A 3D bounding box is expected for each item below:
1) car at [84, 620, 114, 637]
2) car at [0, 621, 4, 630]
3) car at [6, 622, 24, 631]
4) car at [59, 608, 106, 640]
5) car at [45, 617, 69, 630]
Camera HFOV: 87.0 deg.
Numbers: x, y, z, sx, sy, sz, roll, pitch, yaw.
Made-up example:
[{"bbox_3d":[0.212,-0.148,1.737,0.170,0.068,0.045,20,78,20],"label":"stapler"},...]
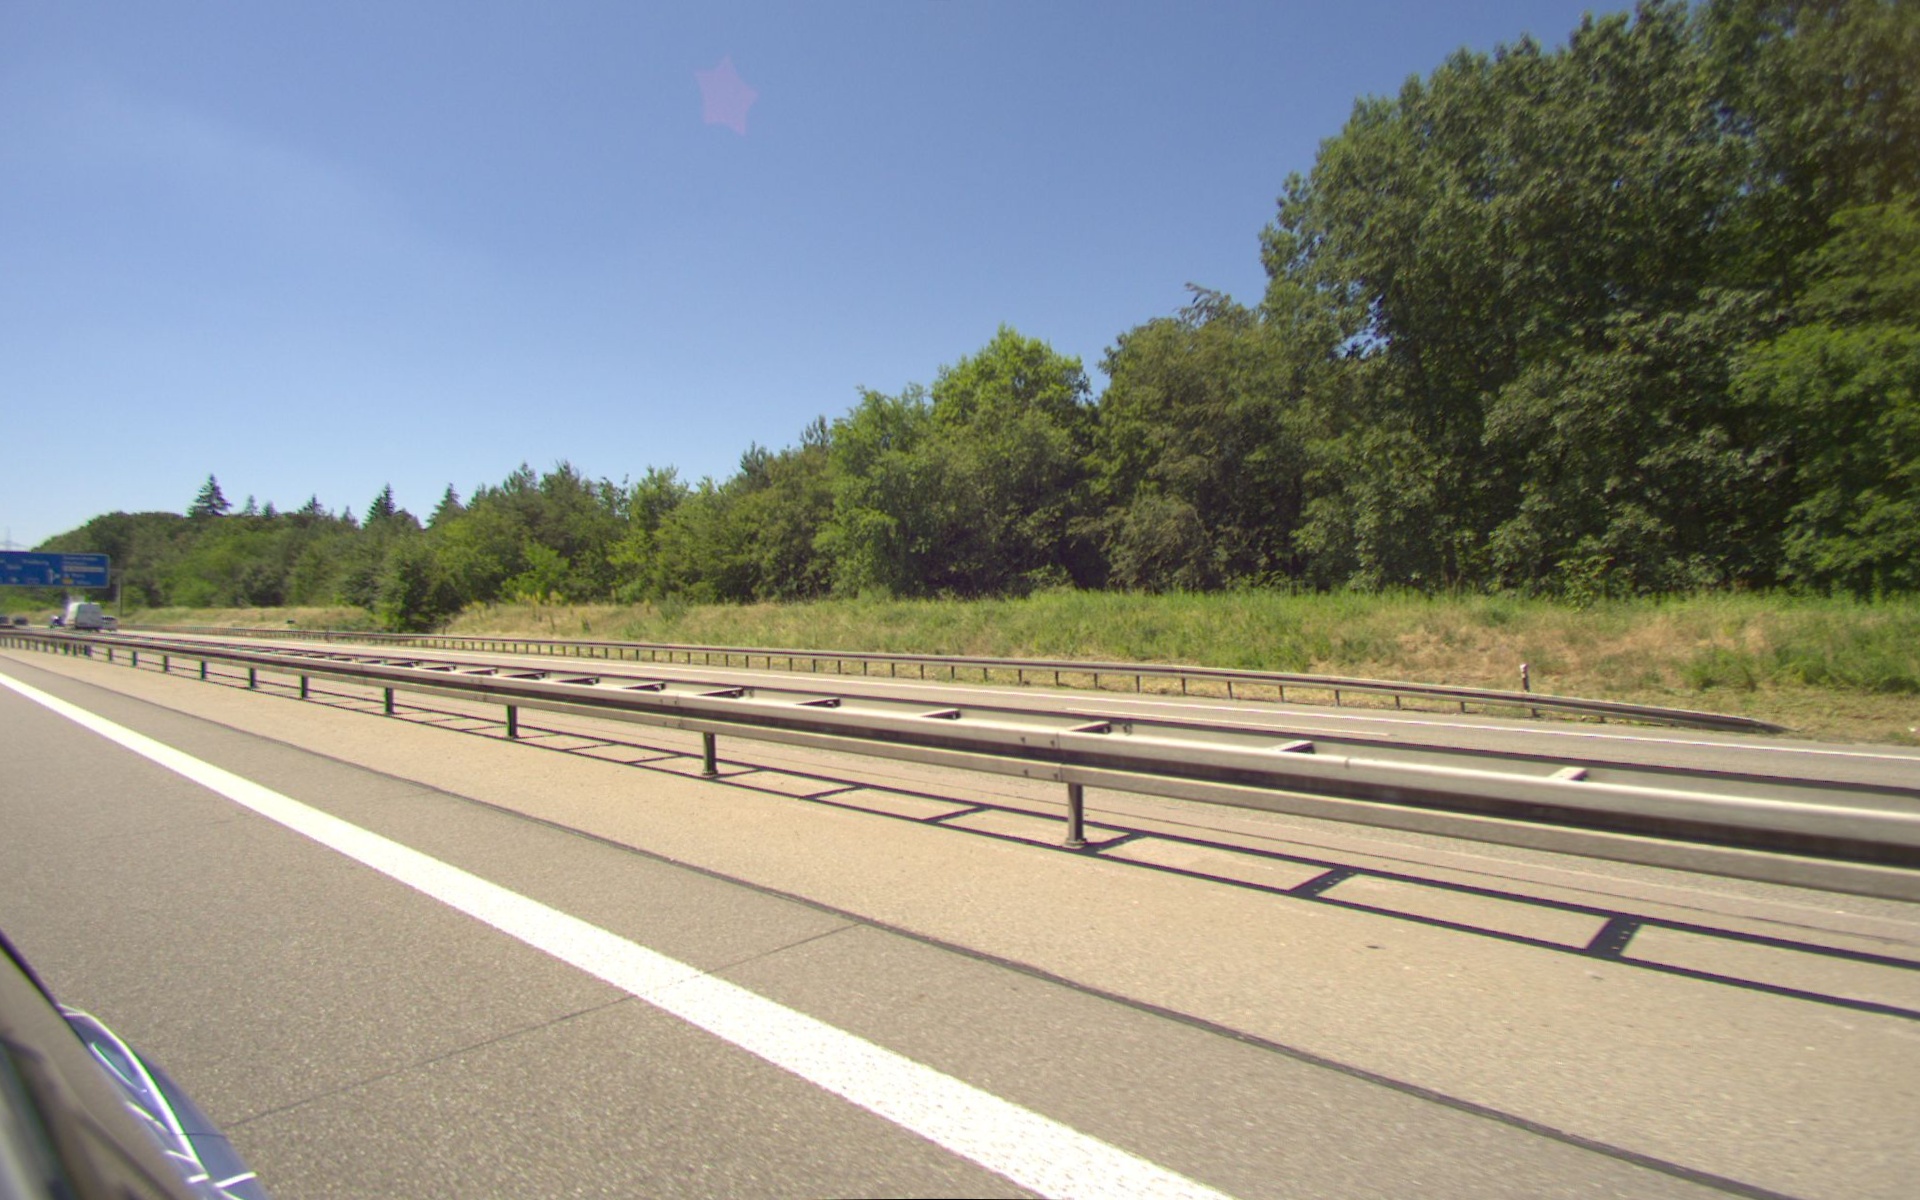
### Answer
[{"bbox_3d":[-91.231,3.028,107.238,5.115,1.674,1.683,-1,-4,42],"label":"car"},{"bbox_3d":[-173.467,4.539,182.190,4.109,1.552,1.507,-1,-4,42],"label":"car"},{"bbox_3d":[-152.732,4.332,163.507,4.888,1.376,1.657,-1,-4,42],"label":"car"},{"bbox_3d":[-78.190,2.165,90.102,7.542,2.645,2.142,-1,-4,42],"label":"car"},{"bbox_3d":[-115.147,3.025,129.024,4.534,1.557,1.683,-1,-4,42],"label":"car"}]
